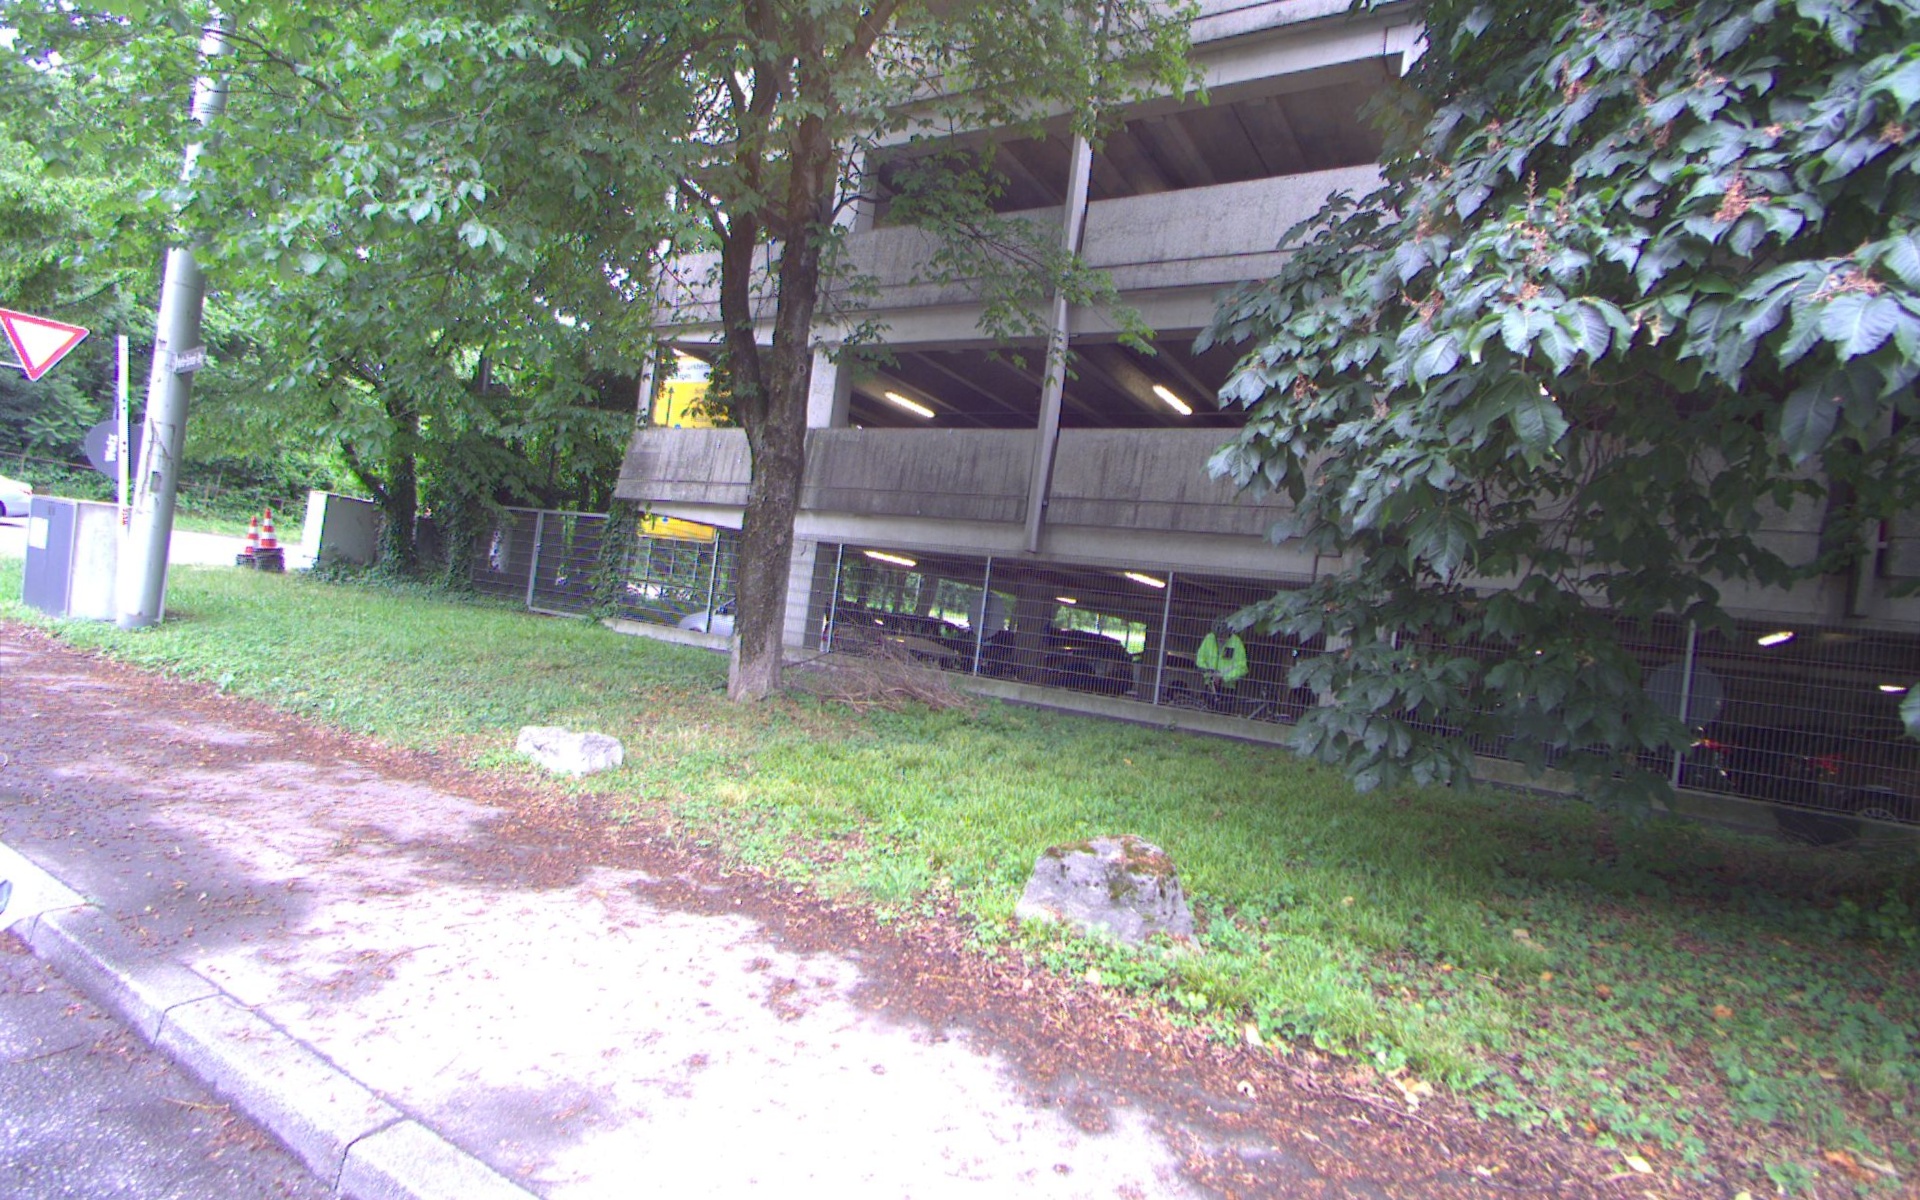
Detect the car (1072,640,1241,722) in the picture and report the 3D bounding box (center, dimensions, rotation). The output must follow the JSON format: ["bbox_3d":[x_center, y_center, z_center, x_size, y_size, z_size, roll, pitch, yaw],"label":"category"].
[{"bbox_3d":[6.128,2.517,31.561,4.658,1.855,1.923,6,-3,33],"label":"car"}]

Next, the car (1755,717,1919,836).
[{"bbox_3d":[15.602,2.989,16.524,3.640,1.625,1.721,5,-3,30],"label":"car"}]

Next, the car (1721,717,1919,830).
[{"bbox_3d":[16.591,3.241,18.659,3.640,1.625,1.721,5,-3,30],"label":"car"}]

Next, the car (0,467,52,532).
[{"bbox_3d":[-23.586,-2.625,22.267,1.802,1.349,4.763,10,-1,29],"label":"car"}]

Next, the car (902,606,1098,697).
[{"bbox_3d":[0.915,1.176,23.224,3.934,1.569,1.998,5,-3,32],"label":"car"}]

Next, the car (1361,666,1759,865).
[{"bbox_3d":[8.611,2.289,14.843,4.597,2.036,1.998,5,-3,31],"label":"car"}]

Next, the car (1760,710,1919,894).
[{"bbox_3d":[12.662,2.654,12.475,3.935,2.036,1.997,5,-3,33],"label":"car"}]

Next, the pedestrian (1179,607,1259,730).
[{"bbox_3d":[3.019,0.807,11.700,0.626,1.332,0.642,5,-3,31],"label":"pedestrian"}]

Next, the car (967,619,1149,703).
[{"bbox_3d":[2.431,1.527,25.162,3.934,1.569,1.998,5,-3,32],"label":"car"}]

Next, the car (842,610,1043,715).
[{"bbox_3d":[-0.382,1.280,20.887,3.658,1.682,1.734,5,-3,32],"label":"car"}]

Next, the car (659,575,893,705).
[{"bbox_3d":[-3.122,0.657,16.904,3.658,1.727,1.484,5,-3,32],"label":"car"}]

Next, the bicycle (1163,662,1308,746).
[{"bbox_3d":[3.110,1.165,11.386,1.469,0.744,0.448,6,-3,24],"label":"bicycle"}]

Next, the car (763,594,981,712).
[{"bbox_3d":[-1.676,0.972,18.830,3.707,1.727,1.584,5,-3,32],"label":"car"}]
